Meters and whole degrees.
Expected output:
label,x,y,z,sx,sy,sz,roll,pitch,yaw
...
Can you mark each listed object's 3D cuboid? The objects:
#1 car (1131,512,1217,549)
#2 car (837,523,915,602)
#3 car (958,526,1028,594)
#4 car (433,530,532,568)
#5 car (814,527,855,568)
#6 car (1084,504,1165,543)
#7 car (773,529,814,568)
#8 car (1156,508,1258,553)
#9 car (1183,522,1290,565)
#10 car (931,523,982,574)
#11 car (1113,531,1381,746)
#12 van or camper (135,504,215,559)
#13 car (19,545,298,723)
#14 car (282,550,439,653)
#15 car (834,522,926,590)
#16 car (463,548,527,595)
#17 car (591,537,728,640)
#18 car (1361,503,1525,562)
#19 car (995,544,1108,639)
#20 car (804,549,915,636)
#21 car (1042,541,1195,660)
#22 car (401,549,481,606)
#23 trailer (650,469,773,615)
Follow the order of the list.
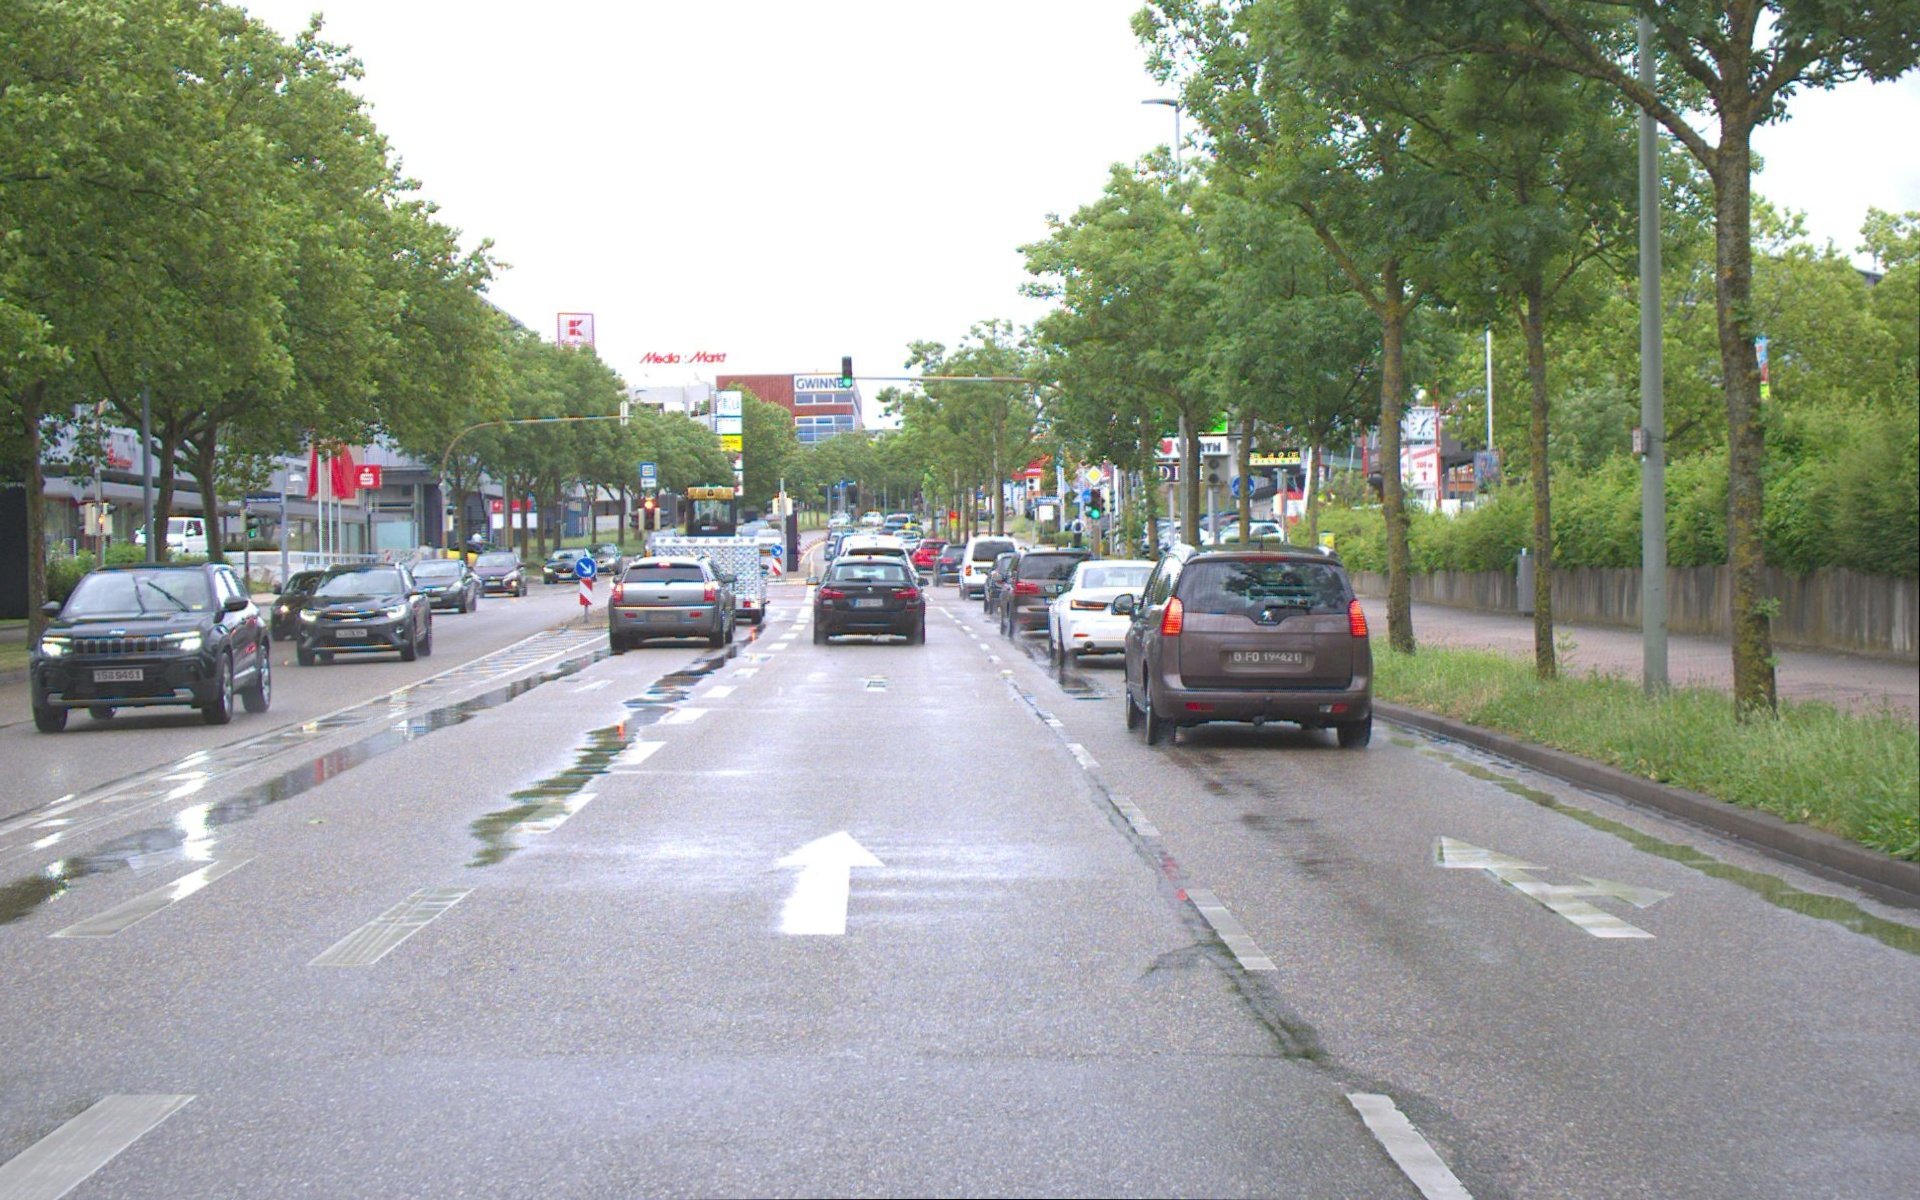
label,x,y,z,sx,sy,sz,roll,pitch,yaw
car,9.361,-3.044,150.419,3.589,1.530,1.643,-2,2,-41
car,-2.232,-0.978,90.851,1.993,2.007,4.000,1,0,-2
car,0.931,-1.157,98.392,1.781,1.860,4.001,-1,1,-2
car,-20.957,-2.236,150.917,3.994,1.546,1.896,-1,2,33
car,-6.371,-2.671,174.959,1.993,2.007,4.000,1,0,-1
car,8.617,-4.009,179.901,4.111,1.898,1.800,-1,2,0
car,-8.819,-2.744,182.395,1.993,2.007,4.000,1,0,-1
car,10.411,-2.938,144.691,4.016,1.657,1.982,-5,3,-41
car,10.643,-2.172,132.135,1.930,1.571,4.278,0,2,40
car,-0.128,-1.752,116.807,1.685,1.678,3.403,1,0,-1
car,2.296,0.255,28.542,1.726,1.619,4.471,-1,1,-1
van or camper,-29.459,-2.548,129.134,1.993,1.960,4.789,1,0,-2
car,-7.602,0.276,32.940,1.762,1.526,3.858,-3,1,-1
car,-9.167,-0.010,52.838,1.666,1.457,4.181,-2,1,-1
car,-1.727,-0.955,73.398,1.682,1.372,4.001,-1,1,-5
car,-15.338,-0.965,113.473,1.709,1.460,4.086,-2,1,-3
car,-4.938,-0.225,56.997,1.907,1.573,4.881,-1,1,-1
car,12.468,-1.742,88.874,3.987,1.437,1.655,-1,1,1
car,1.607,-0.177,61.835,1.801,1.581,4.451,1,1,-1
car,-1.698,-0.149,57.667,1.781,1.393,4.001,0,1,-2
car,2.141,-0.035,47.634,1.801,1.539,4.620,1,1,-1
car,-14.008,-0.632,92.915,1.709,1.460,4.086,-2,1,-3
trailer,-5.161,-1.219,72.146,2.372,2.887,5.546,-1,1,-3
